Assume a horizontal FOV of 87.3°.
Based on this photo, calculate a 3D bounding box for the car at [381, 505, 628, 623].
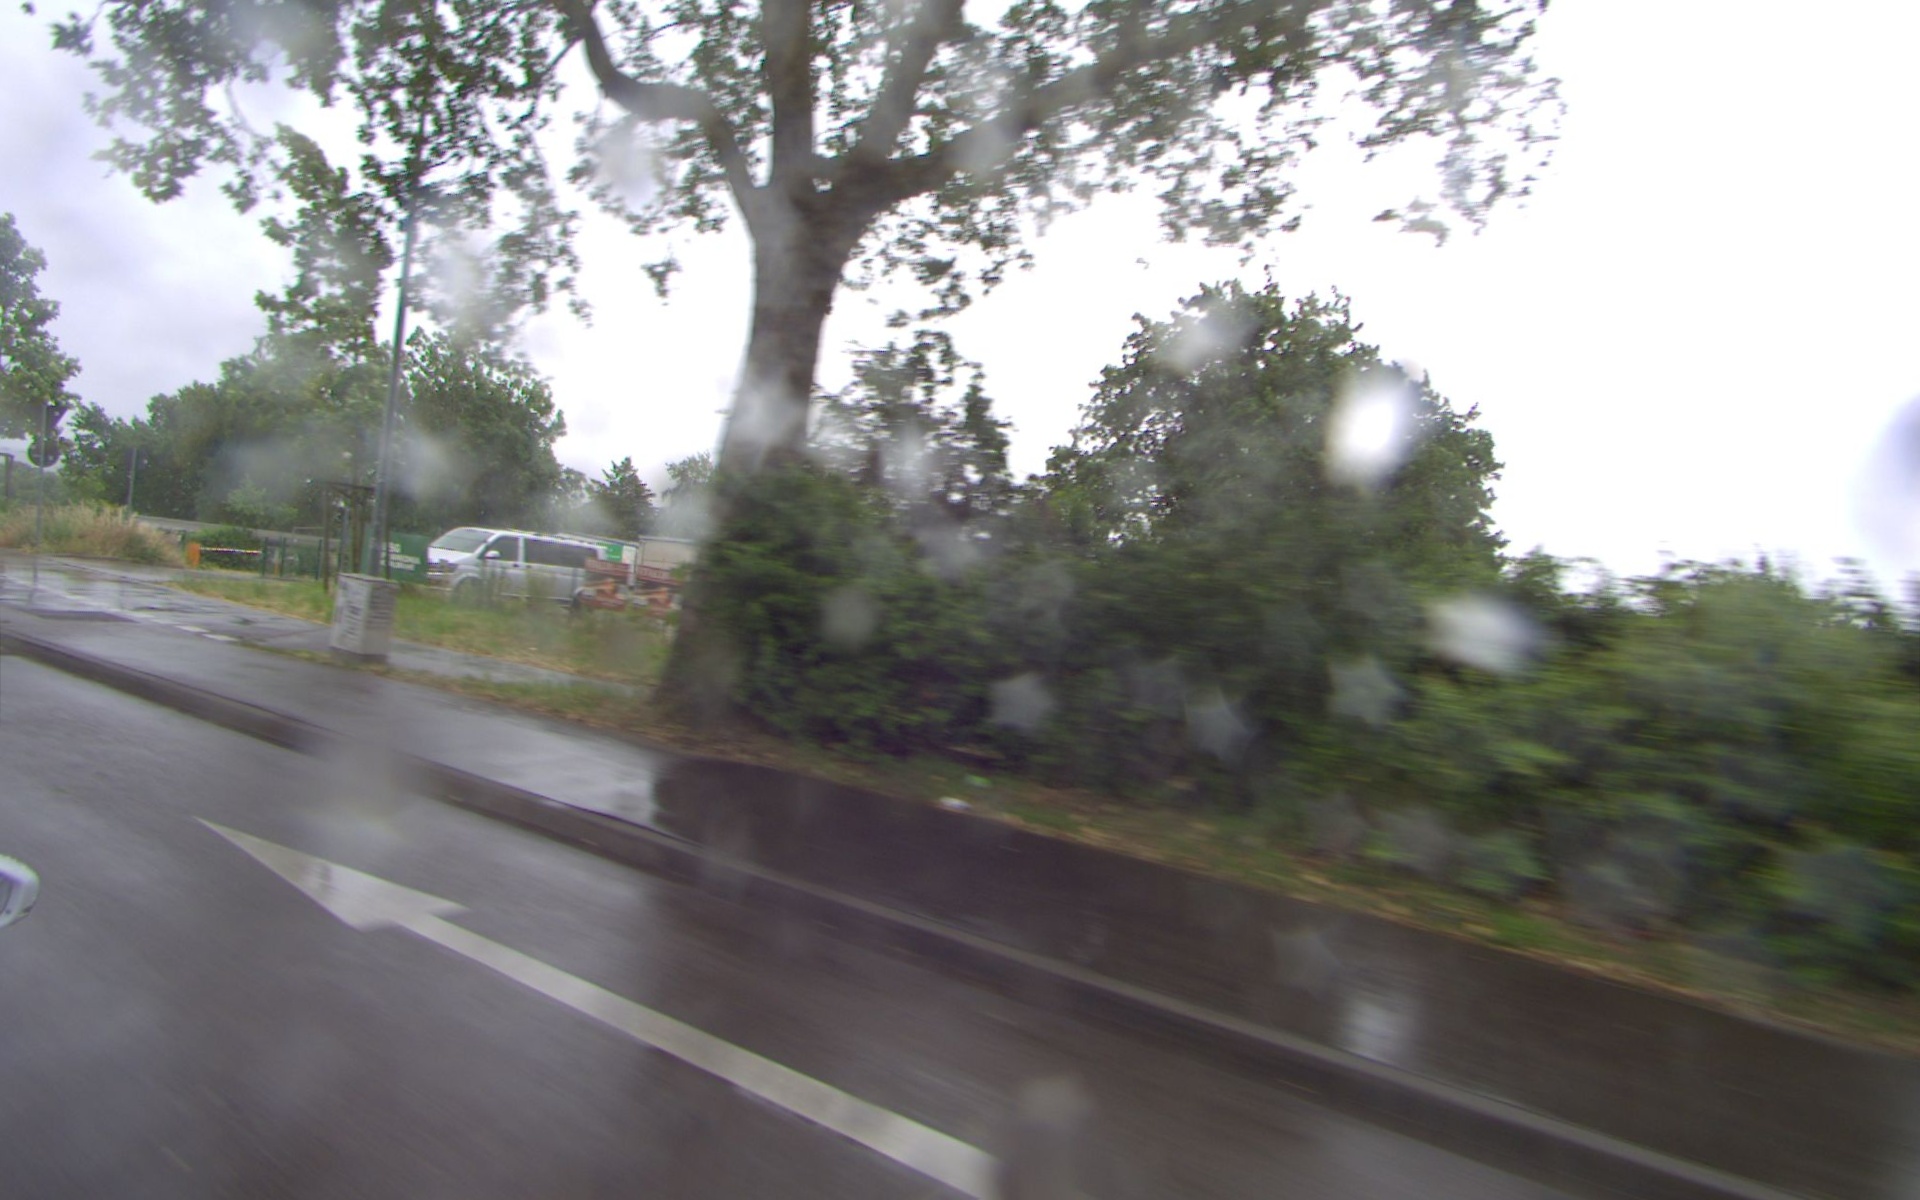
[{"bbox_3d":[-10.925,-0.782,24.637,1.965,2.036,5.266,7,-2,27],"label":"car"}]
